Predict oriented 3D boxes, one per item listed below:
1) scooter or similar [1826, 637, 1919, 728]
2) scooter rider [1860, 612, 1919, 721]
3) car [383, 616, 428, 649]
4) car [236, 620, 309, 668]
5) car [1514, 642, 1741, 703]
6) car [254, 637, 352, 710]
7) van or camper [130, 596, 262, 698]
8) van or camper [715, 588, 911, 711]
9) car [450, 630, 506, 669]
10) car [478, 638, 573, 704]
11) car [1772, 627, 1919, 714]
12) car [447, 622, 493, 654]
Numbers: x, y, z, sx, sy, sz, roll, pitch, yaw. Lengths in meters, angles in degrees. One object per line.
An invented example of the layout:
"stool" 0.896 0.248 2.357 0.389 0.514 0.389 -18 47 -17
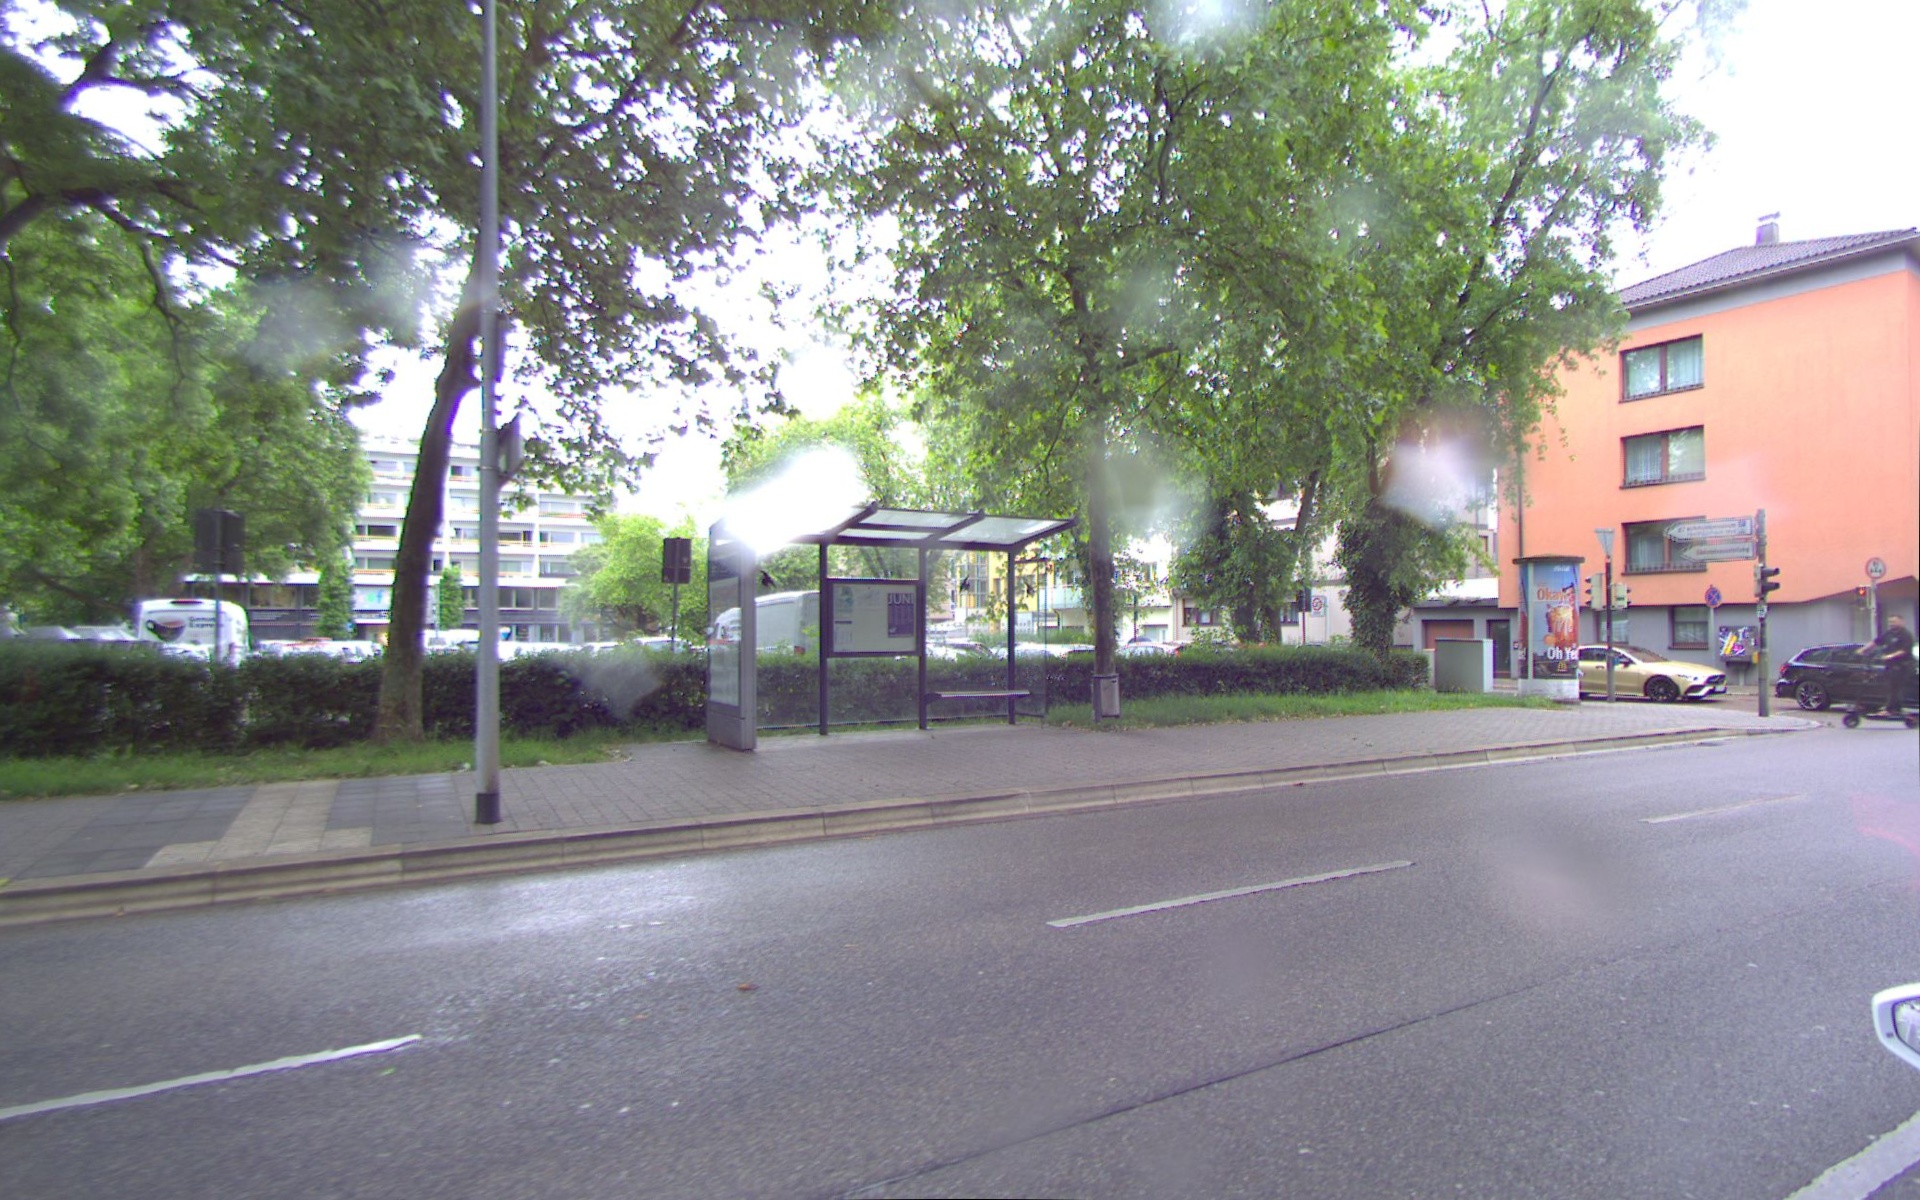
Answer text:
"scooter or similar" 15.722 1.394 17.053 1.375 1.464 0.815 -3 -2 32
"scooter rider" 15.760 1.111 17.016 0.634 1.789 0.734 0 -2 31
"car" -32.004 1.863 57.908 2.075 1.745 3.966 1 0 -31
"car" -24.581 1.529 36.037 1.876 1.506 3.966 1 0 -31
"car" 17.163 1.817 26.100 1.810 1.422 4.616 1 -3 -29
"car" -16.382 1.771 25.201 1.876 1.506 3.966 1 0 -31
"van or camper" -20.195 1.222 26.762 2.073 2.463 4.310 1 -2 -28
"van or camper" -2.868 0.882 18.659 1.978 1.975 4.572 1 -2 -31
"car" -21.632 2.167 44.987 1.876 1.506 3.966 1 0 -31
"car" -12.039 1.893 27.712 1.876 1.506 3.966 1 0 -31
"car" 18.995 1.381 19.984 1.820 1.646 4.127 0 -3 -14
"car" -26.493 2.023 54.239 1.876 1.506 3.966 1 0 -31
